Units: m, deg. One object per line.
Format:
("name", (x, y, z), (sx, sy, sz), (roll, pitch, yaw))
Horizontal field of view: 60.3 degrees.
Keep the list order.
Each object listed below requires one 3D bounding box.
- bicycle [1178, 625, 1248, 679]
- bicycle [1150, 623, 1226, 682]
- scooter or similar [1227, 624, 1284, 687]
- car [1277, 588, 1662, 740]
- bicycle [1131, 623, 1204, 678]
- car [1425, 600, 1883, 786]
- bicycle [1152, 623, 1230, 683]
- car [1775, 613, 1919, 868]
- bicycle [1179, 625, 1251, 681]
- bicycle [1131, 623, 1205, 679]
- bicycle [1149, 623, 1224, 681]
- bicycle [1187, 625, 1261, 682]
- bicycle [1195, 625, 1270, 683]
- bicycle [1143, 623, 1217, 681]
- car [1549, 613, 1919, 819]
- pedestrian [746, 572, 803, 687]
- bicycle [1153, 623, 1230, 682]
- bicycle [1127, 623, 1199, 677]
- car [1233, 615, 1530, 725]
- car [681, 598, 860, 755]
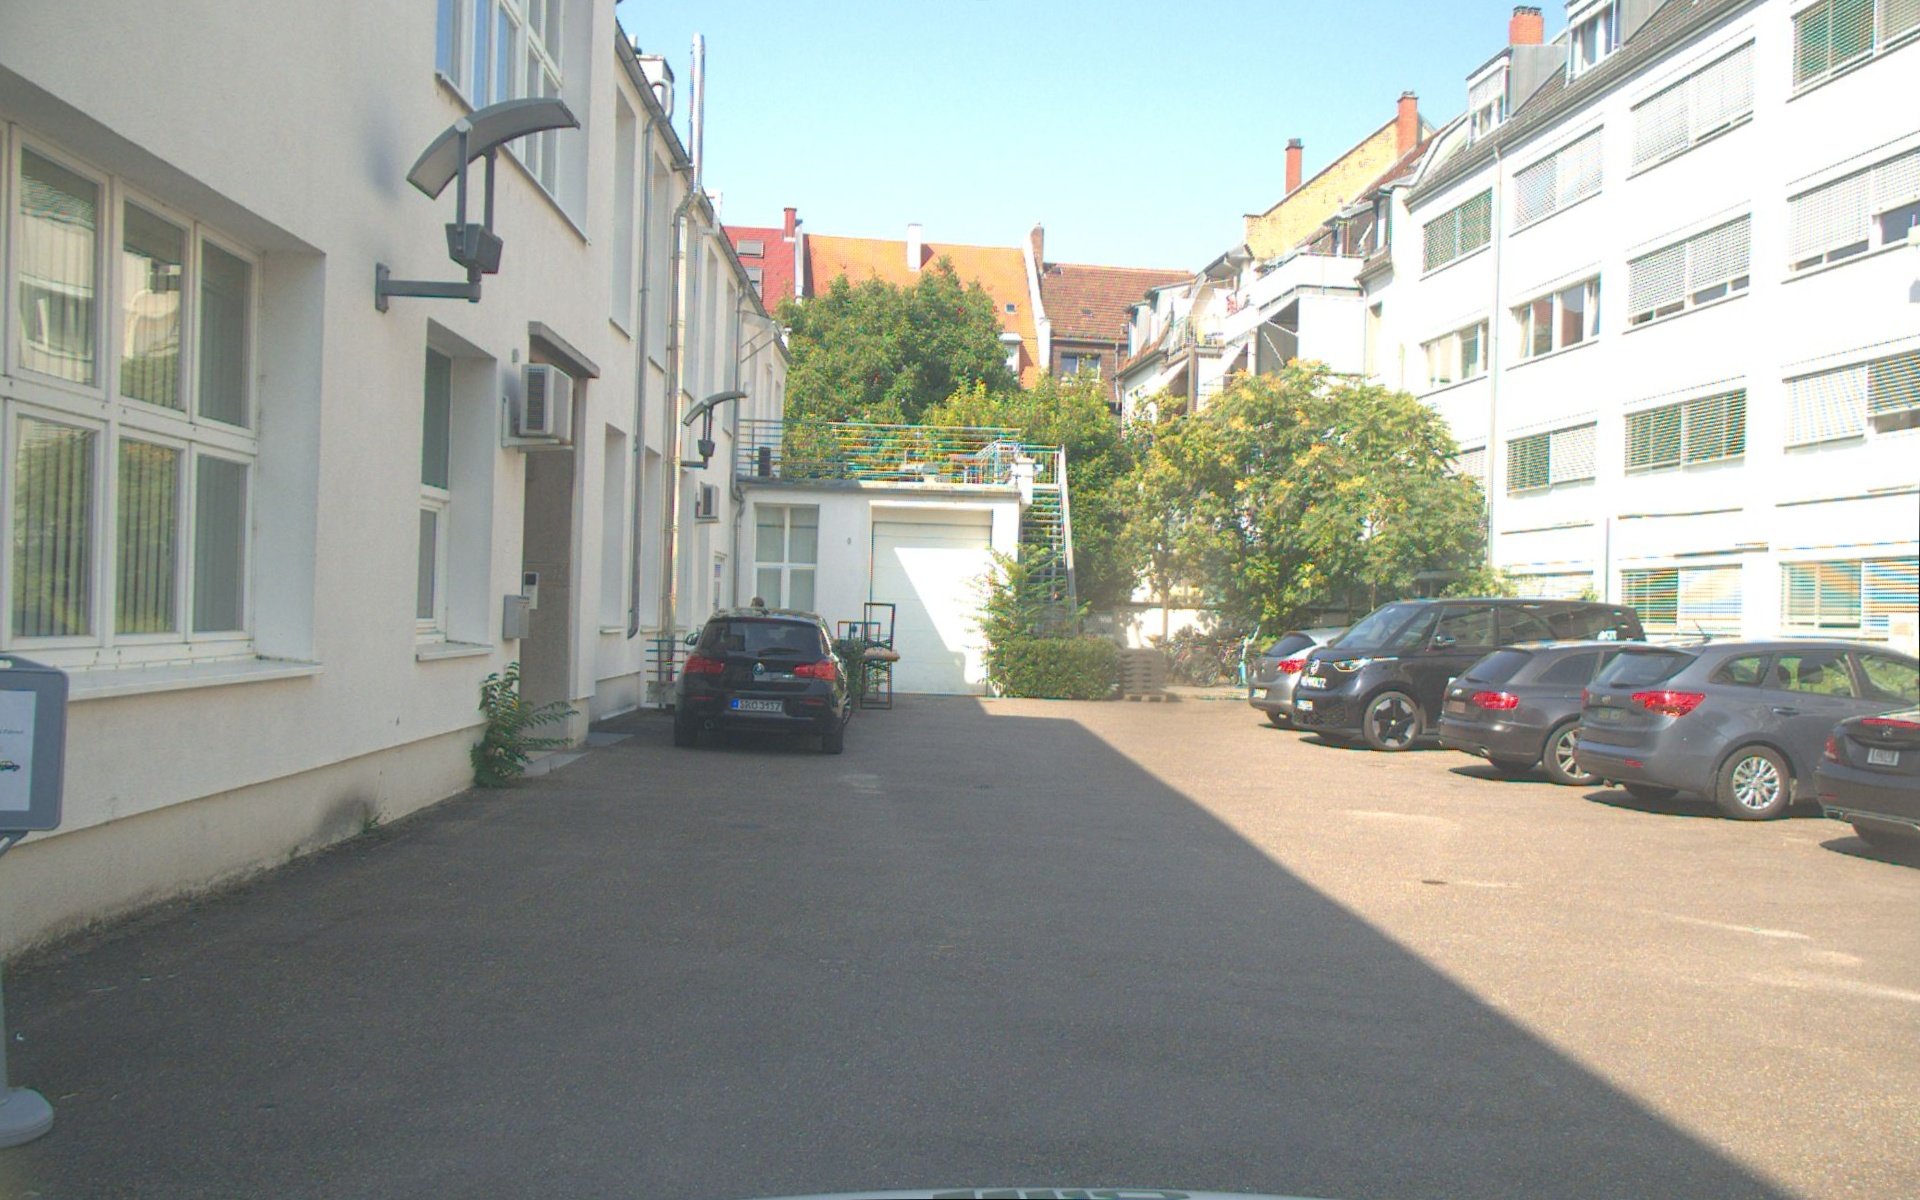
("bicycle", (5.892, 1.205, 38.460), (1.588, 1.235, 0.424), (1, -1, 11))
("bicycle", (4.914, 1.124, 35.622), (1.590, 1.235, 0.327), (1, -1, 0))
("scooter or similar", (6.200, 1.159, 34.794), (0.375, 1.283, 1.333), (1, -1, -33))
("car", (6.560, 0.828, 21.476), (4.419, 1.826, 1.878), (1, -1, -11))
("bicycle", (4.724, 1.154, 37.743), (1.592, 1.235, 0.423), (1, -1, -7))
("car", (7.155, 0.947, 17.285), (4.036, 1.721, 1.769), (2, -1, -4))
("bicycle", (4.890, 1.113, 35.006), (1.590, 1.235, 0.327), (1, -1, 0))
("car", (7.846, 0.960, 11.279), (3.731, 1.617, 1.892), (2, -1, -11))
("bicycle", (5.775, 1.184, 37.431), (1.588, 1.235, 0.424), (1, -1, 11))
("bicycle", (4.656, 1.141, 37.107), (1.590, 1.235, 0.424), (1, -1, -2))
("bicycle", (4.939, 1.133, 36.073), (1.588, 1.235, 0.327), (1, -1, 9))
("bicycle", (5.886, 1.178, 36.857), (1.588, 1.235, 0.424), (1, -1, 12))
("bicycle", (5.924, 1.164, 35.998), (1.588, 1.235, 0.327), (0, -1, 14))
("bicycle", (4.855, 1.136, 36.435), (1.588, 1.235, 0.327), (1, -1, 12))
("car", (7.403, 0.989, 14.471), (3.788, 1.617, 1.877), (2, -1, -7))
("pedestrian", (-3.407, 0.535, 30.407), (0.895, 2.049, 0.934), (2, -1, -1))
("bicycle", (4.949, 1.120, 35.329), (1.590, 1.235, 0.327), (1, -1, 0))
("bicycle", (4.707, 1.164, 38.345), (1.592, 1.235, 0.423), (1, -1, -6))
("car", (6.167, 1.026, 24.348), (3.861, 1.508, 1.770), (1, -1, -11))
("car", (-1.965, 0.779, 18.110), (1.655, 1.484, 3.920), (2, -1, -3))
